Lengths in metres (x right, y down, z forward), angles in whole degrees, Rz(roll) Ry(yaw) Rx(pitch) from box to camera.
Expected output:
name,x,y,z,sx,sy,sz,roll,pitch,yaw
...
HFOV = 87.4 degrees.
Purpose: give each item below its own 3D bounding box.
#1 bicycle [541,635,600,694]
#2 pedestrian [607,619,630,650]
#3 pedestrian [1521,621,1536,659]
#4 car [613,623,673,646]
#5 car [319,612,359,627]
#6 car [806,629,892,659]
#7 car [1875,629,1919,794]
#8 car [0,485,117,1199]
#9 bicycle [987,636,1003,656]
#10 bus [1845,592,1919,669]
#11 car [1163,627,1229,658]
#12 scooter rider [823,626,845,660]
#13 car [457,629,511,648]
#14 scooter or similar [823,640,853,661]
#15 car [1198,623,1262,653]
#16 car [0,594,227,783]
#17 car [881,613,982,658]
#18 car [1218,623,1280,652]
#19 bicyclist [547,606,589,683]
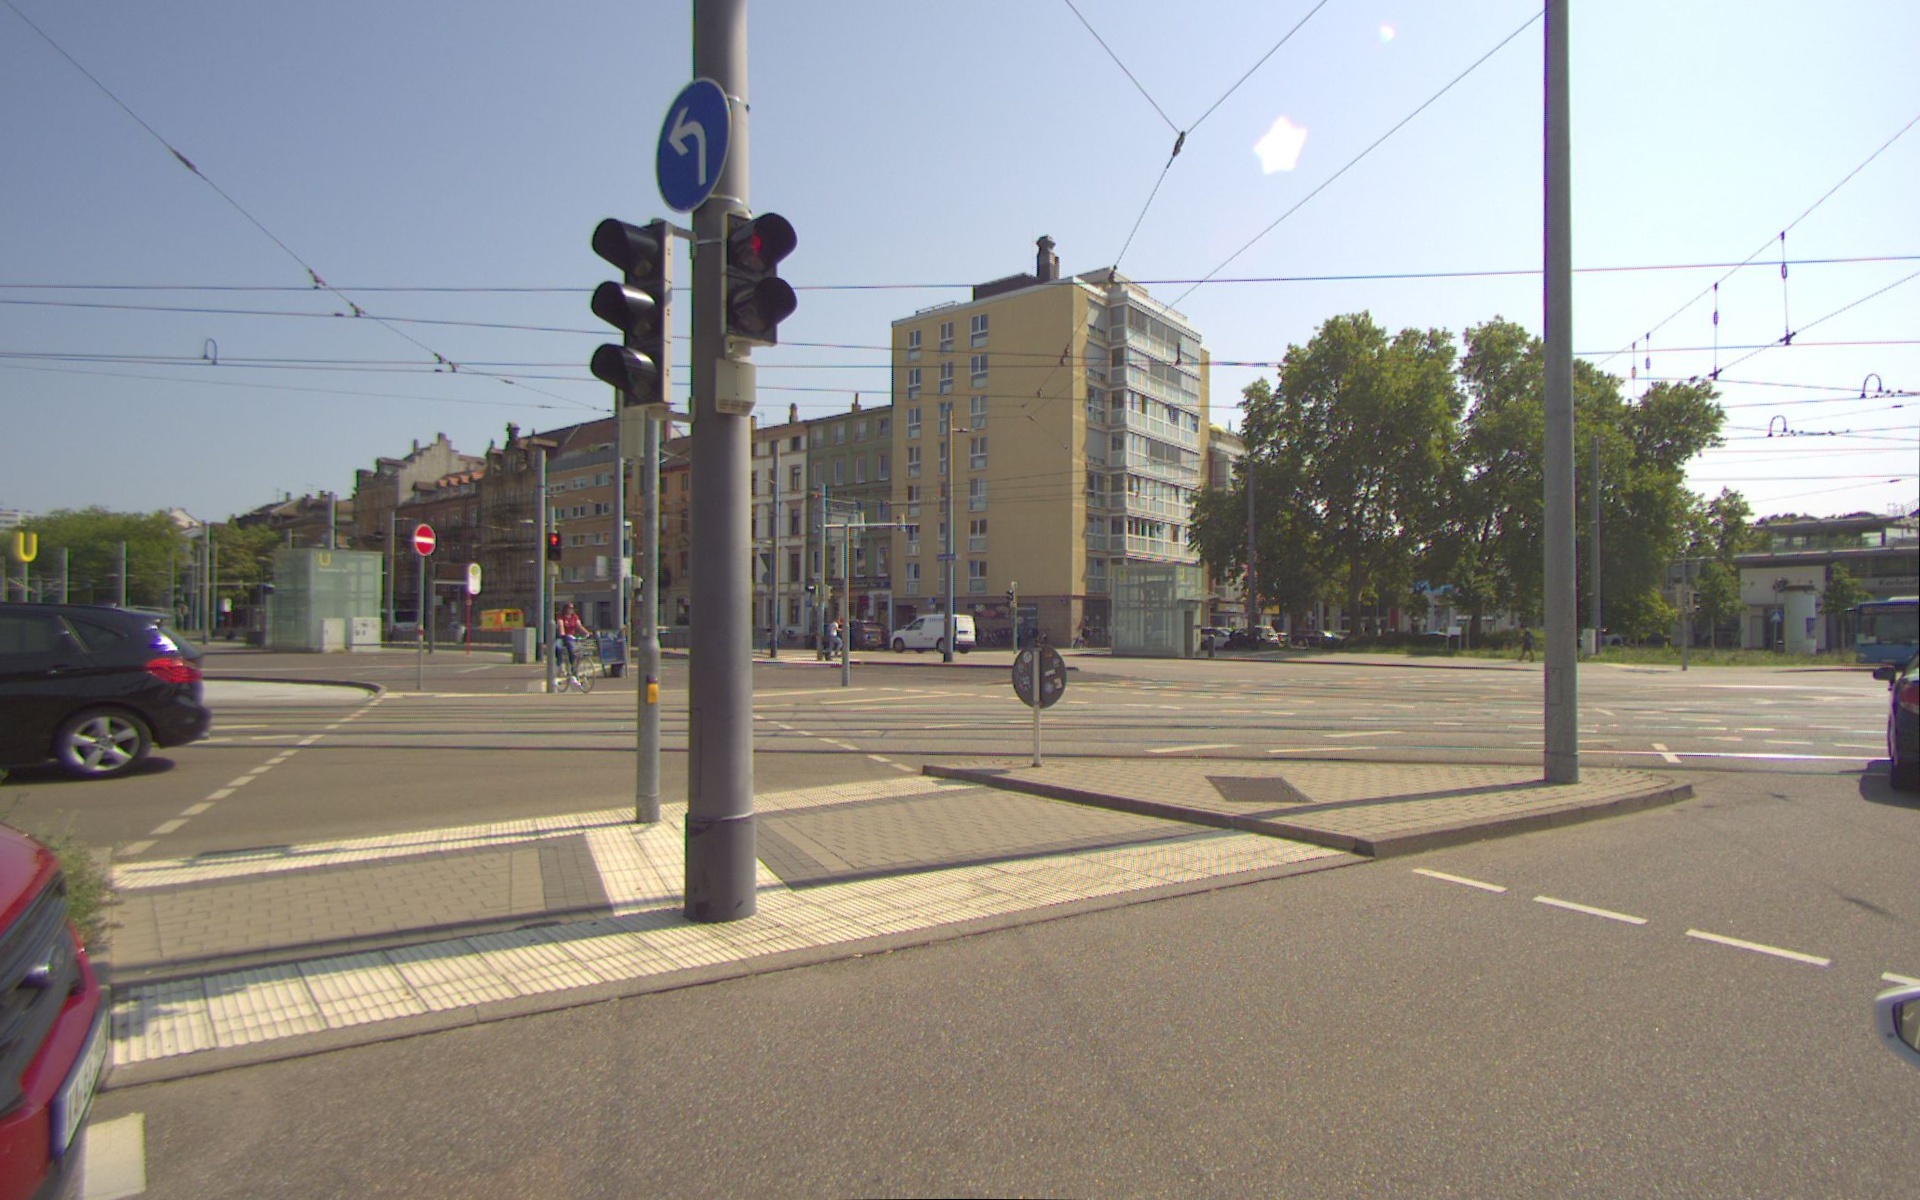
name,x,y,z,sx,sy,sz,roll,pitch,yaw
bicycle,-7.829,1.270,20.132,0.500,1.108,1.915,1,-2,-40
pedestrian,-17.310,1.735,50.968,0.845,1.563,0.741,-1,-2,35
pedestrian,25.682,1.806,45.369,0.546,1.706,0.452,0,-1,37
car,-21.424,2.315,67.876,4.135,1.434,1.769,-1,-2,37
car,-62.218,1.967,100.620,4.692,1.434,1.769,-1,-2,37
car,-6.086,2.369,55.003,4.550,1.524,1.993,-1,-2,36
car,9.977,1.003,9.435,3.754,1.406,1.749,1,0,-43
car,-3.238,0.590,0.757,3.807,1.607,1.679,1,0,-35
bicycle,2.192,2.888,63.275,0.892,1.220,3.264,0,-2,0
bus,43.989,1.361,43.678,11.831,3.123,2.561,1,-2,-18
car,15.893,2.830,67.766,3.939,2.040,1.922,-1,-2,39
scooter rider,-5.082,1.731,40.643,0.604,1.371,0.680,1,-1,-41
car,-36.909,2.968,77.856,4.692,1.434,1.769,-1,-2,37
scooter or similar,-4.930,2.035,40.647,1.134,0.835,0.516,2,-2,-40
car,18.942,2.628,70.566,3.939,2.040,1.922,-1,-2,39
car,-8.987,0.740,8.675,4.175,1.581,1.719,2,-2,-41
car,-1.402,1.670,47.958,4.550,2.040,1.993,-1,-2,36
car,21.207,2.736,73.697,3.939,2.040,1.922,-1,-2,39
bicyclist,-7.882,0.889,20.208,0.633,1.529,0.552,1,-1,-40
